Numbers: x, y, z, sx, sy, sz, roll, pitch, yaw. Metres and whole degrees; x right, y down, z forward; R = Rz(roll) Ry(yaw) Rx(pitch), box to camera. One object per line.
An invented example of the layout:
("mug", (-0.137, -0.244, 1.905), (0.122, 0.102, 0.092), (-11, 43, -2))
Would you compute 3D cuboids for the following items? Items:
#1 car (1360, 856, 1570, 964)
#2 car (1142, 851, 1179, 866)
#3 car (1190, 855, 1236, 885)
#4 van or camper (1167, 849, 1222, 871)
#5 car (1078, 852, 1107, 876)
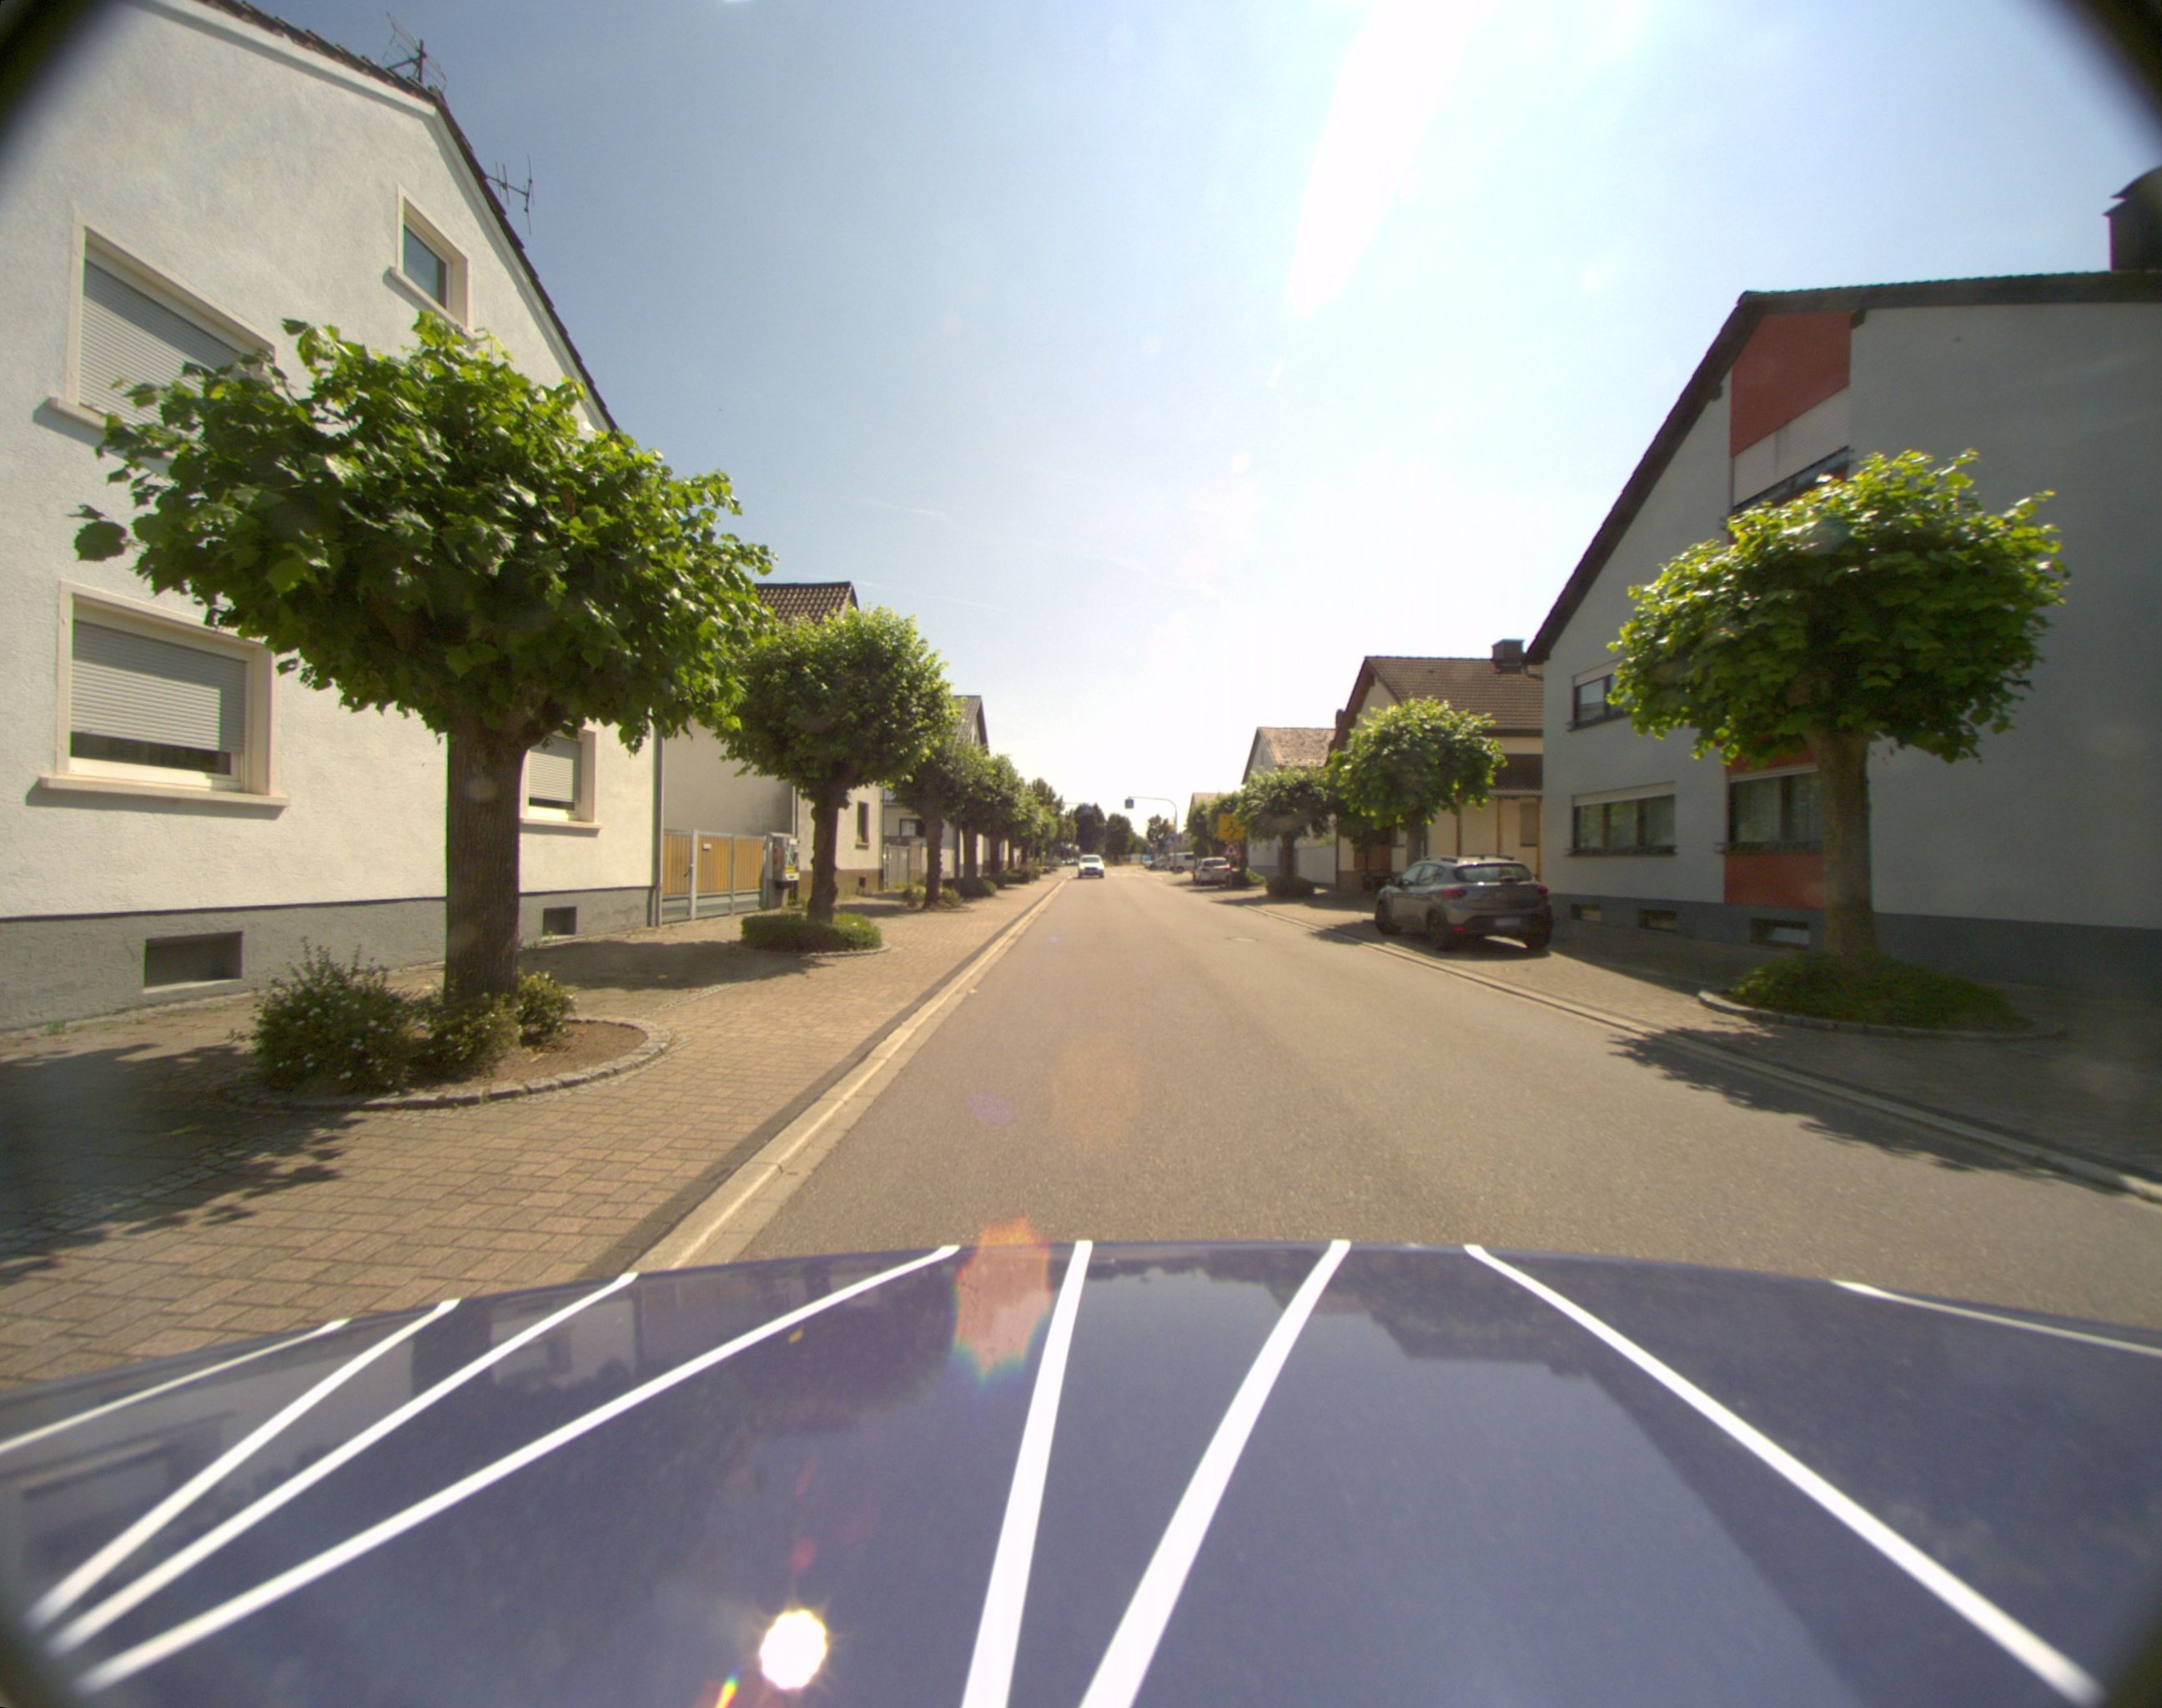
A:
("car", (6.702, 0.876, 13.838), (1.857, 1.603, 4.135), (-2, 0, 3))
("car", (9.825, 0.513, 94.098), (4.251, 1.709, 1.945), (-2, 1, -5))
("car", (7.234, 0.847, 41.941), (1.829, 1.474, 4.132), (-2, 0, 1))
("van or camper", (10.367, 0.556, 69.739), (4.752, 1.851, 2.000), (-2, 0, 0))
("car", (0.855, 0.657, 52.793), (1.857, 1.603, 4.135), (-2, 0, 3))
